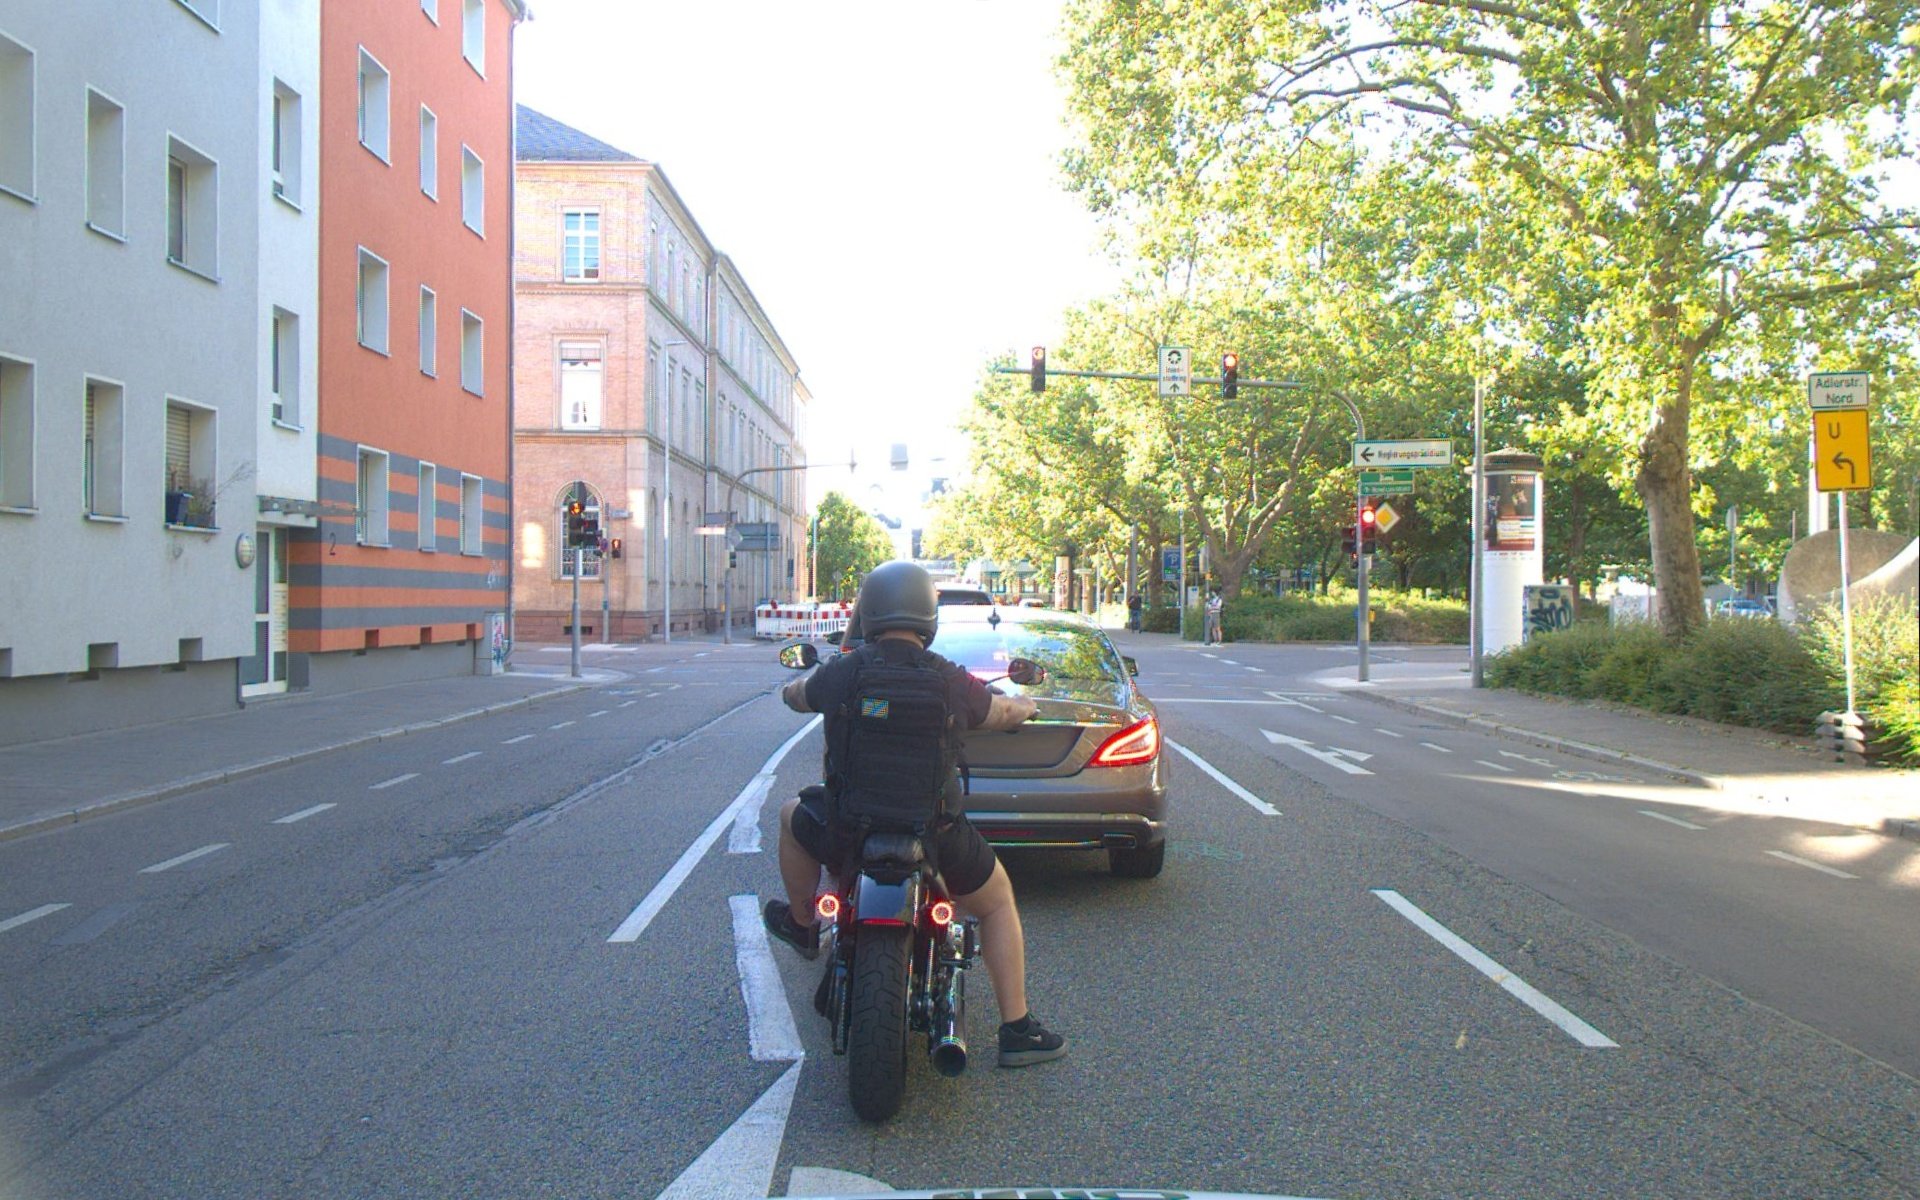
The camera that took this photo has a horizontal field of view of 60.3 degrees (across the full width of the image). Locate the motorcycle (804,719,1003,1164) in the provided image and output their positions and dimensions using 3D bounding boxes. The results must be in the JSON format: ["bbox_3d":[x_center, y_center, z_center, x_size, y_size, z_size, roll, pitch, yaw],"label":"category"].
[{"bbox_3d":[-0.162,0.966,5.337,0.503,1.020,2.013,1,0,-1],"label":"motorcycle"}]

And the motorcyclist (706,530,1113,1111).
[{"bbox_3d":[-0.149,0.628,5.329,1.125,1.626,1.288,1,0,-1],"label":"motorcyclist"}]

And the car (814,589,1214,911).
[{"bbox_3d":[0.229,0.691,9.621,1.844,1.475,3.819,1,0,-1],"label":"car"}]

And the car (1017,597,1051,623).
[{"bbox_3d":[4.331,0.574,96.960,1.740,1.453,3.801,0,0,-1],"label":"car"}]

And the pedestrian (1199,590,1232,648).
[{"bbox_3d":[8.296,0.617,53.756,0.980,1.858,1.077,1,-1,5],"label":"pedestrian"}]

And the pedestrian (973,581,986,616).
[{"bbox_3d":[1.194,-0.083,100.925,0.748,2.087,0.712,1,-1,-1],"label":"pedestrian"}]

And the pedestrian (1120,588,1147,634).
[{"bbox_3d":[7.359,0.471,70.136,0.741,1.943,0.917,1,-1,-29],"label":"pedestrian"}]

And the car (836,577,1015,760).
[{"bbox_3d":[-0.336,0.603,16.730,1.588,1.622,3.999,0,0,-1],"label":"car"}]
